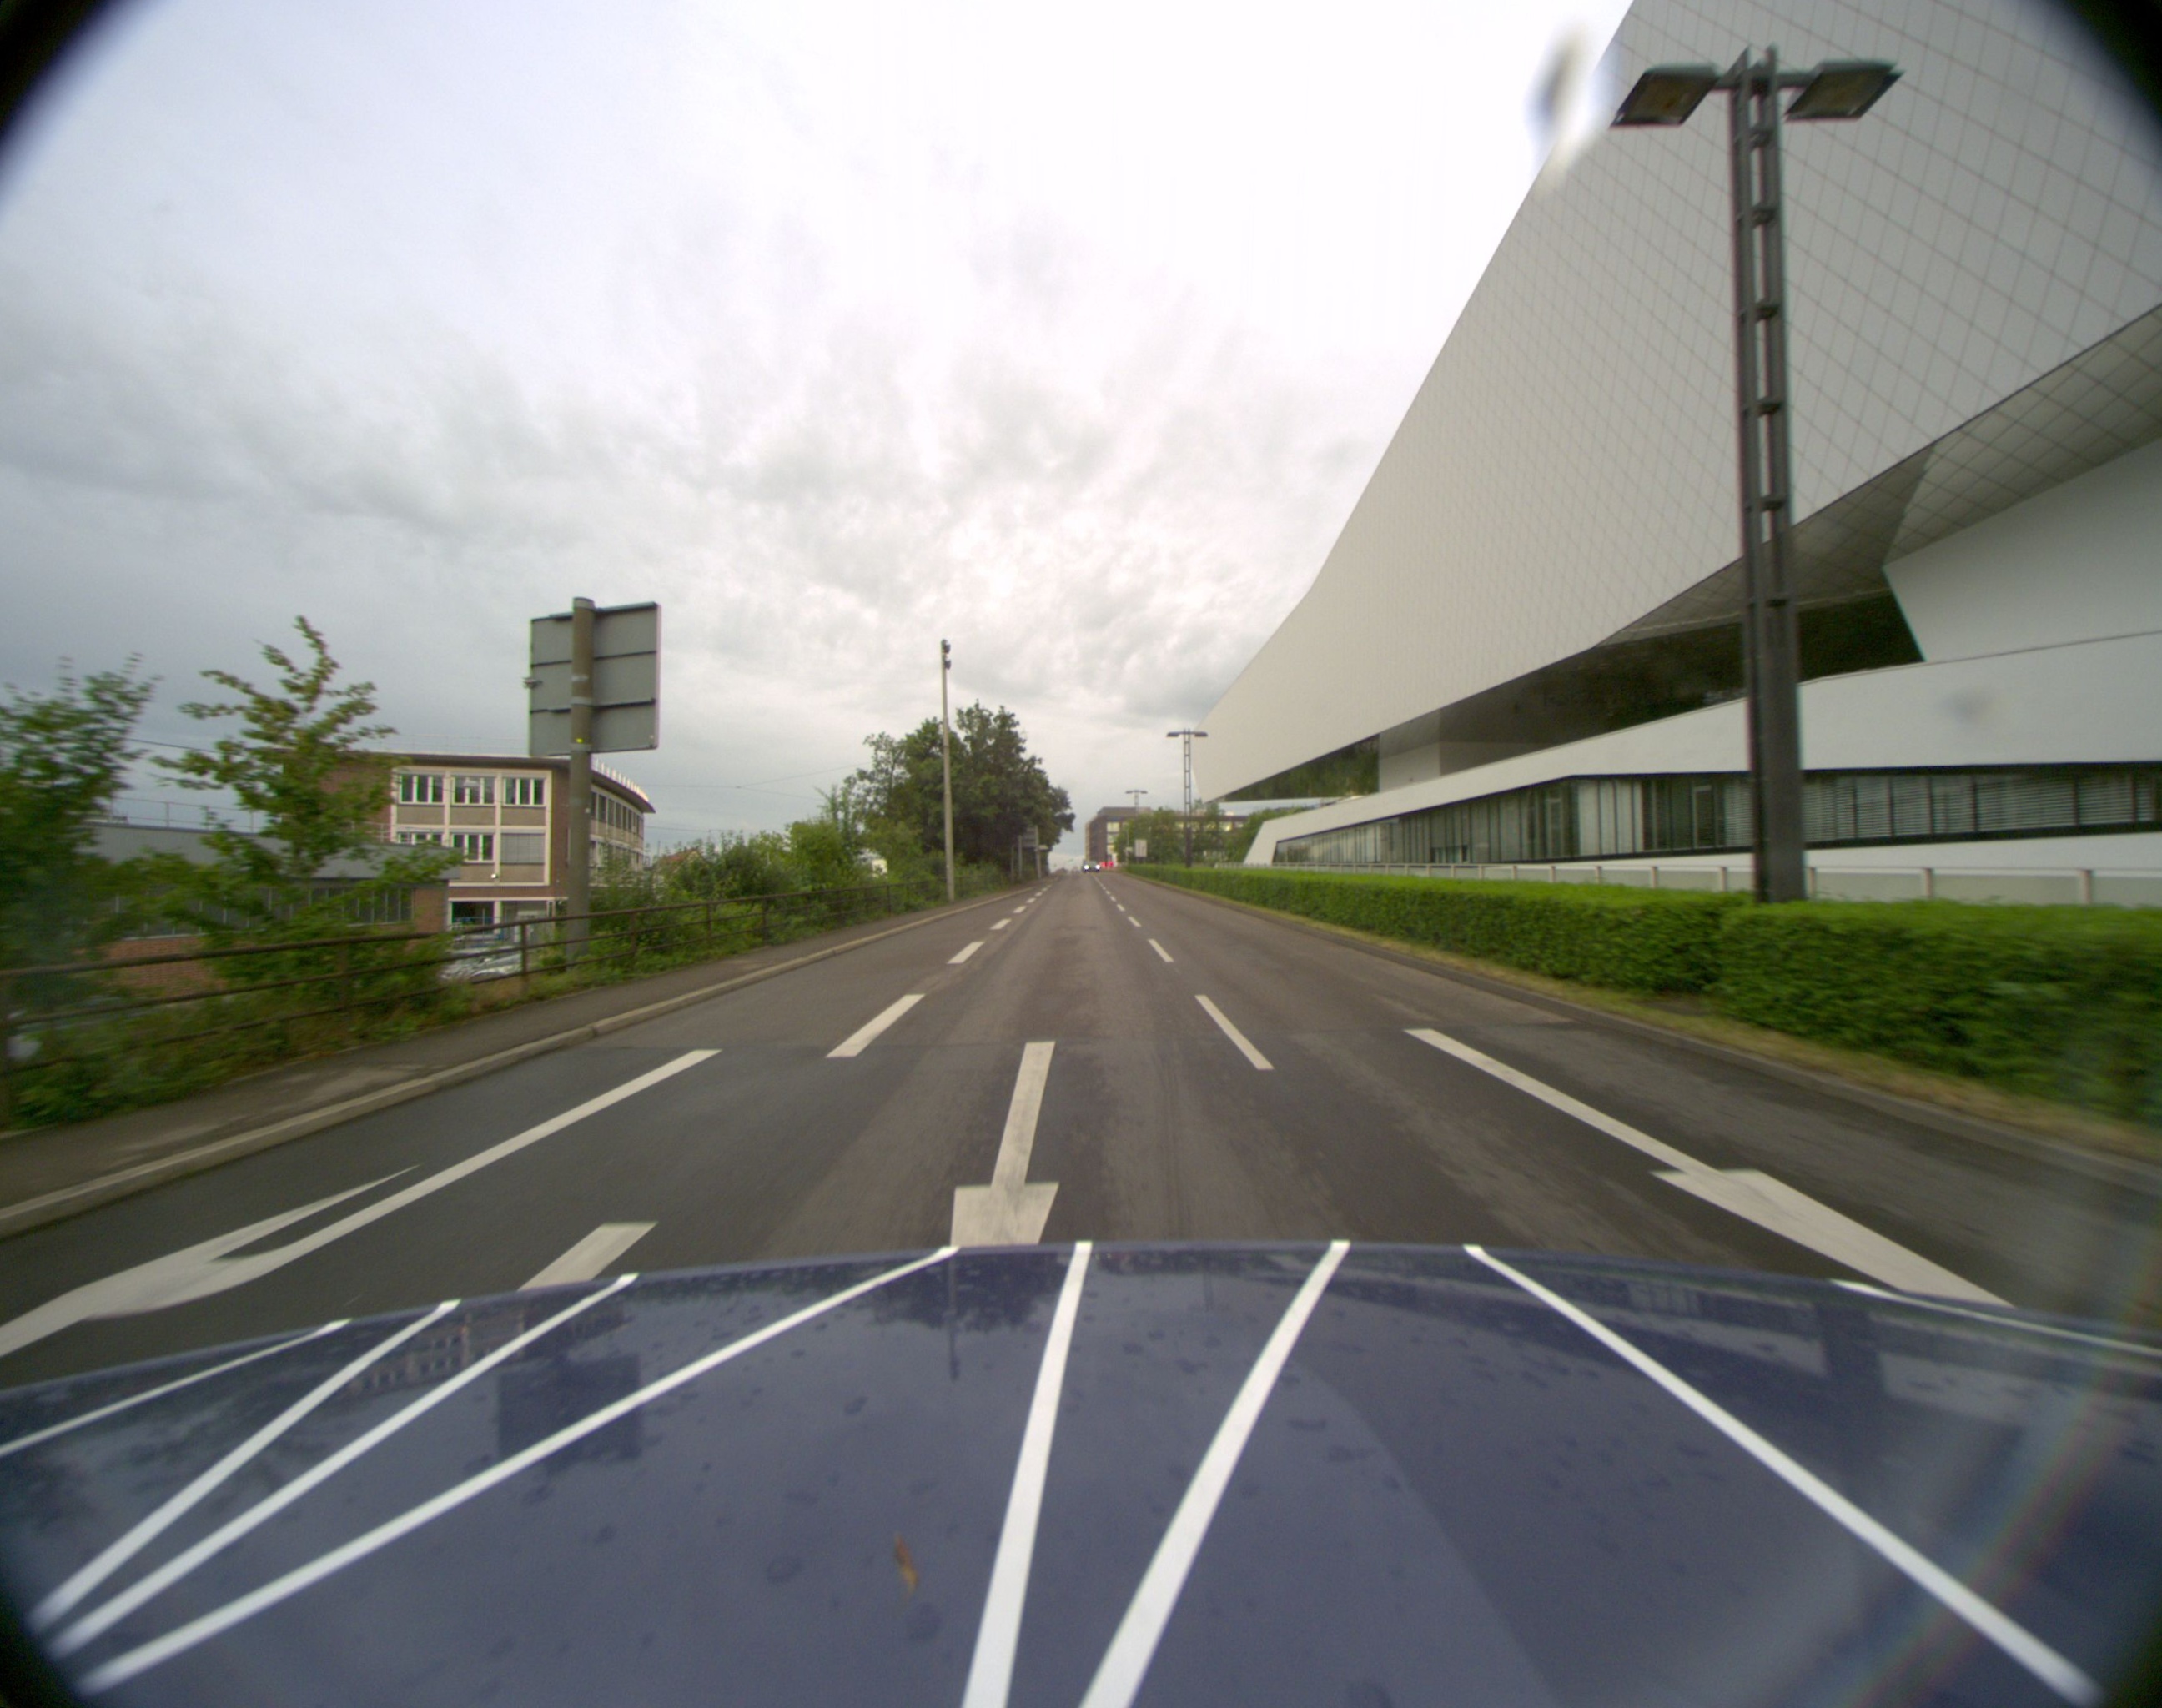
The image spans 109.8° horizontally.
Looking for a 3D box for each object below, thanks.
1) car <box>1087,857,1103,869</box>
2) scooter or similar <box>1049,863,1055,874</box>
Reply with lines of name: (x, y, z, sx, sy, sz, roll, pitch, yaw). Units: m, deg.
car: (1.775, 1.202, 99.444, 1.841, 1.574, 4.289, -1, 0, -2)
scooter or similar: (-3.050, 1.528, 81.246, 0.574, 1.201, 1.468, -1, 0, 0)
